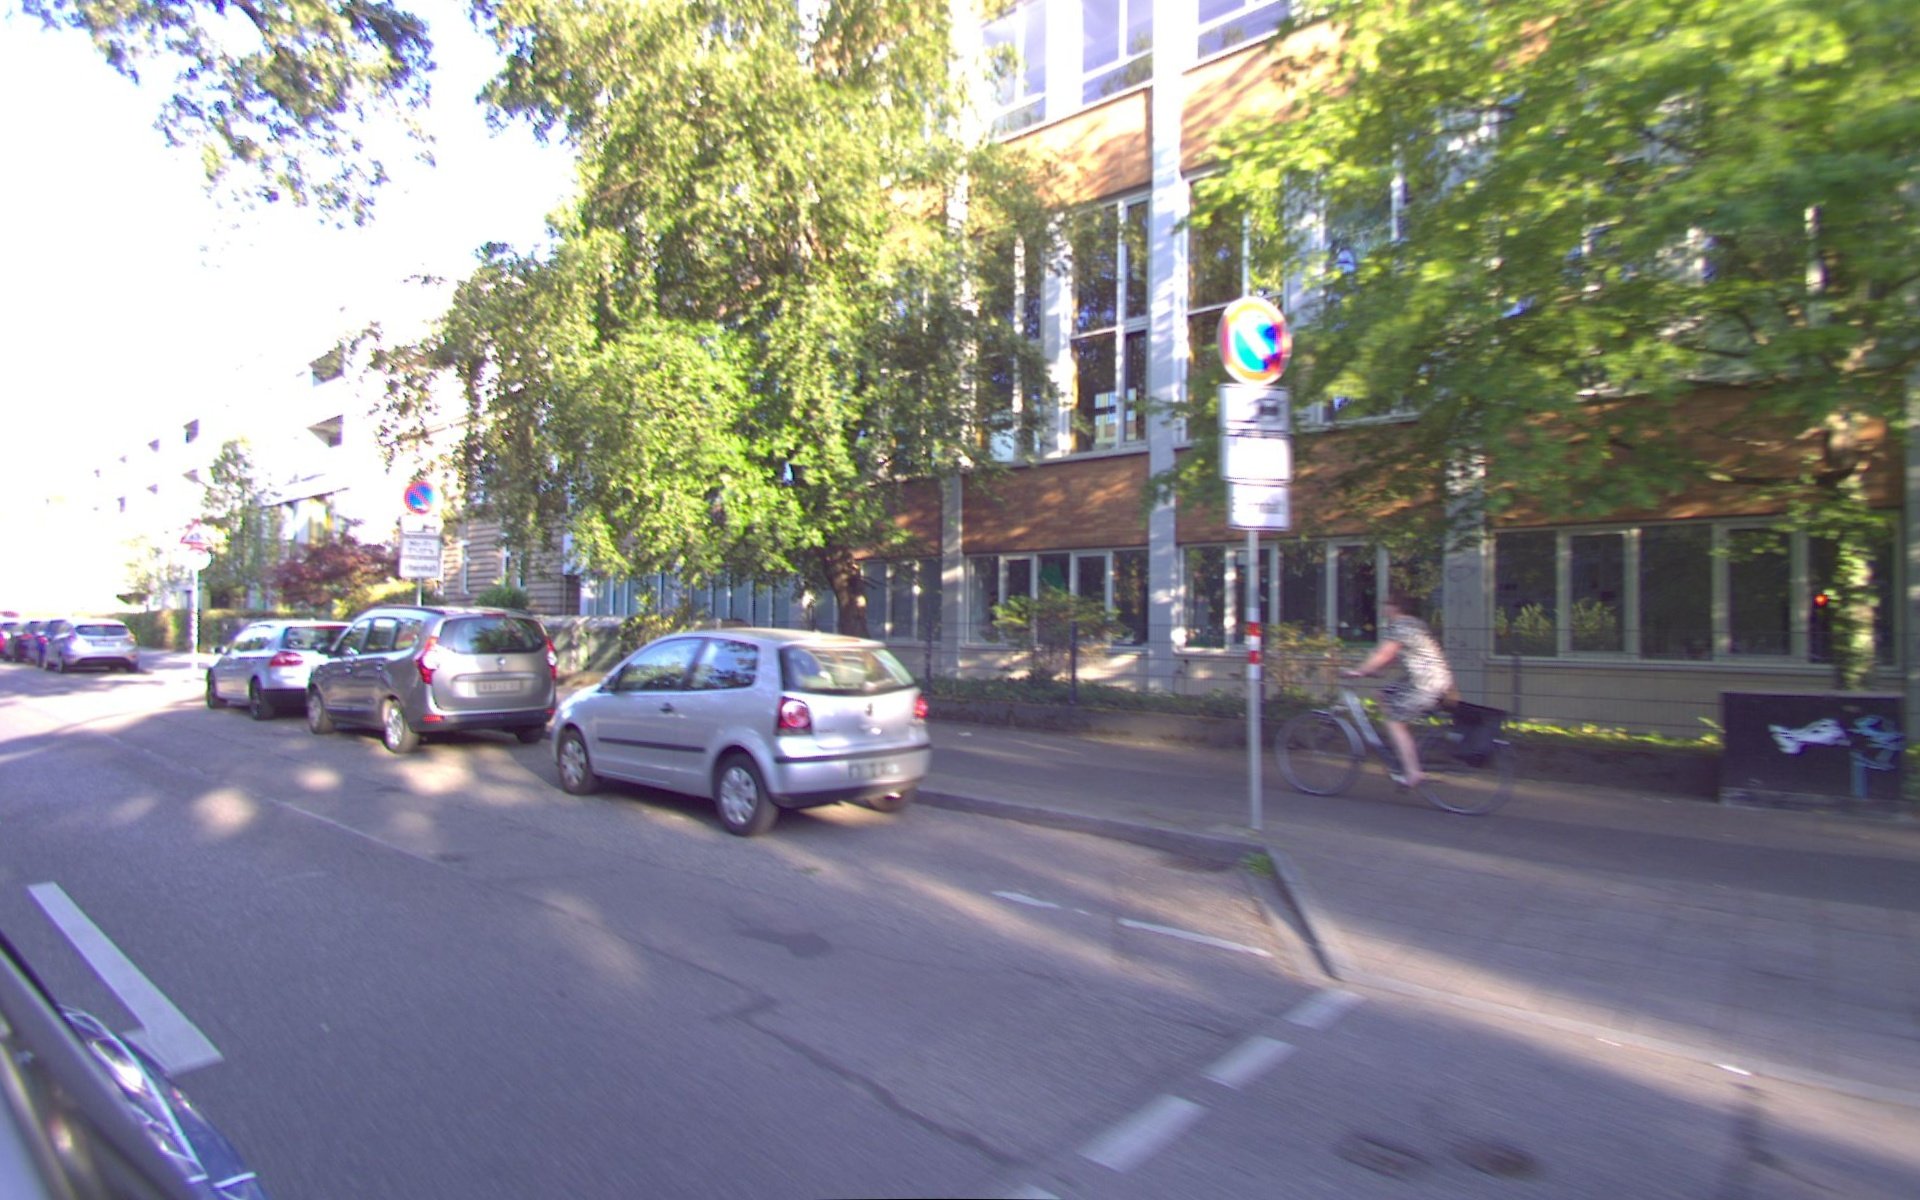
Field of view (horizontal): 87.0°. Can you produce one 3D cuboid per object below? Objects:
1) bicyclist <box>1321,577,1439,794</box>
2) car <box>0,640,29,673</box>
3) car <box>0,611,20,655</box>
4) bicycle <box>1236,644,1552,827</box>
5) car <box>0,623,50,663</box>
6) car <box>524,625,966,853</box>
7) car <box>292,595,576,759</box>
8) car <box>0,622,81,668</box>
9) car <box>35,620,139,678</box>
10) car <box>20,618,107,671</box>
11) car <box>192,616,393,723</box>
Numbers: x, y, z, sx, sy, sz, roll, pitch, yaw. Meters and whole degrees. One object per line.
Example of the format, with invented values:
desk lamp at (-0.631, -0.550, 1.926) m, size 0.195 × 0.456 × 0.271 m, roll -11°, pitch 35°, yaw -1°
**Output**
bicyclist at (3.343, 0.653, 8.057) m, size 0.705 × 1.615 × 0.669 m, roll -2°, pitch -2°, yaw 37°
car at (-39.455, 2.300, 41.352) m, size 3.729 × 1.290 × 1.540 m, roll -2°, pitch -5°, yaw 40°
car at (-43.273, 1.468, 44.829) m, size 4.234 × 1.904 × 1.789 m, roll -2°, pitch -5°, yaw 40°
bicycle at (3.372, 0.986, 8.023) m, size 2.189 × 1.258 × 0.680 m, roll -2°, pitch -2°, yaw 38°
car at (-35.867, 1.608, 38.255) m, size 3.858 × 1.466 × 1.582 m, roll -1°, pitch -3°, yaw 40°
car at (-1.945, 1.001, 8.481) m, size 3.881 × 1.468 × 1.661 m, roll -3°, pitch -5°, yaw 42°
car at (-6.709, 0.918, 12.707) m, size 4.338 × 1.721 × 1.661 m, roll -2°, pitch -5°, yaw 41°
car at (-31.317, 1.530, 34.346) m, size 4.051 × 1.466 × 1.582 m, roll -2°, pitch -5°, yaw 40°
car at (-24.353, 1.380, 28.205) m, size 3.769 × 1.505 × 1.584 m, roll -2°, pitch -5°, yaw 40°
car at (-27.693, 1.390, 31.237) m, size 3.787 × 1.519 × 1.581 m, roll -3°, pitch -5°, yaw 43°
car at (-10.831, 1.090, 16.318) m, size 4.059 × 1.505 × 1.653 m, roll -2°, pitch -5°, yaw 41°
